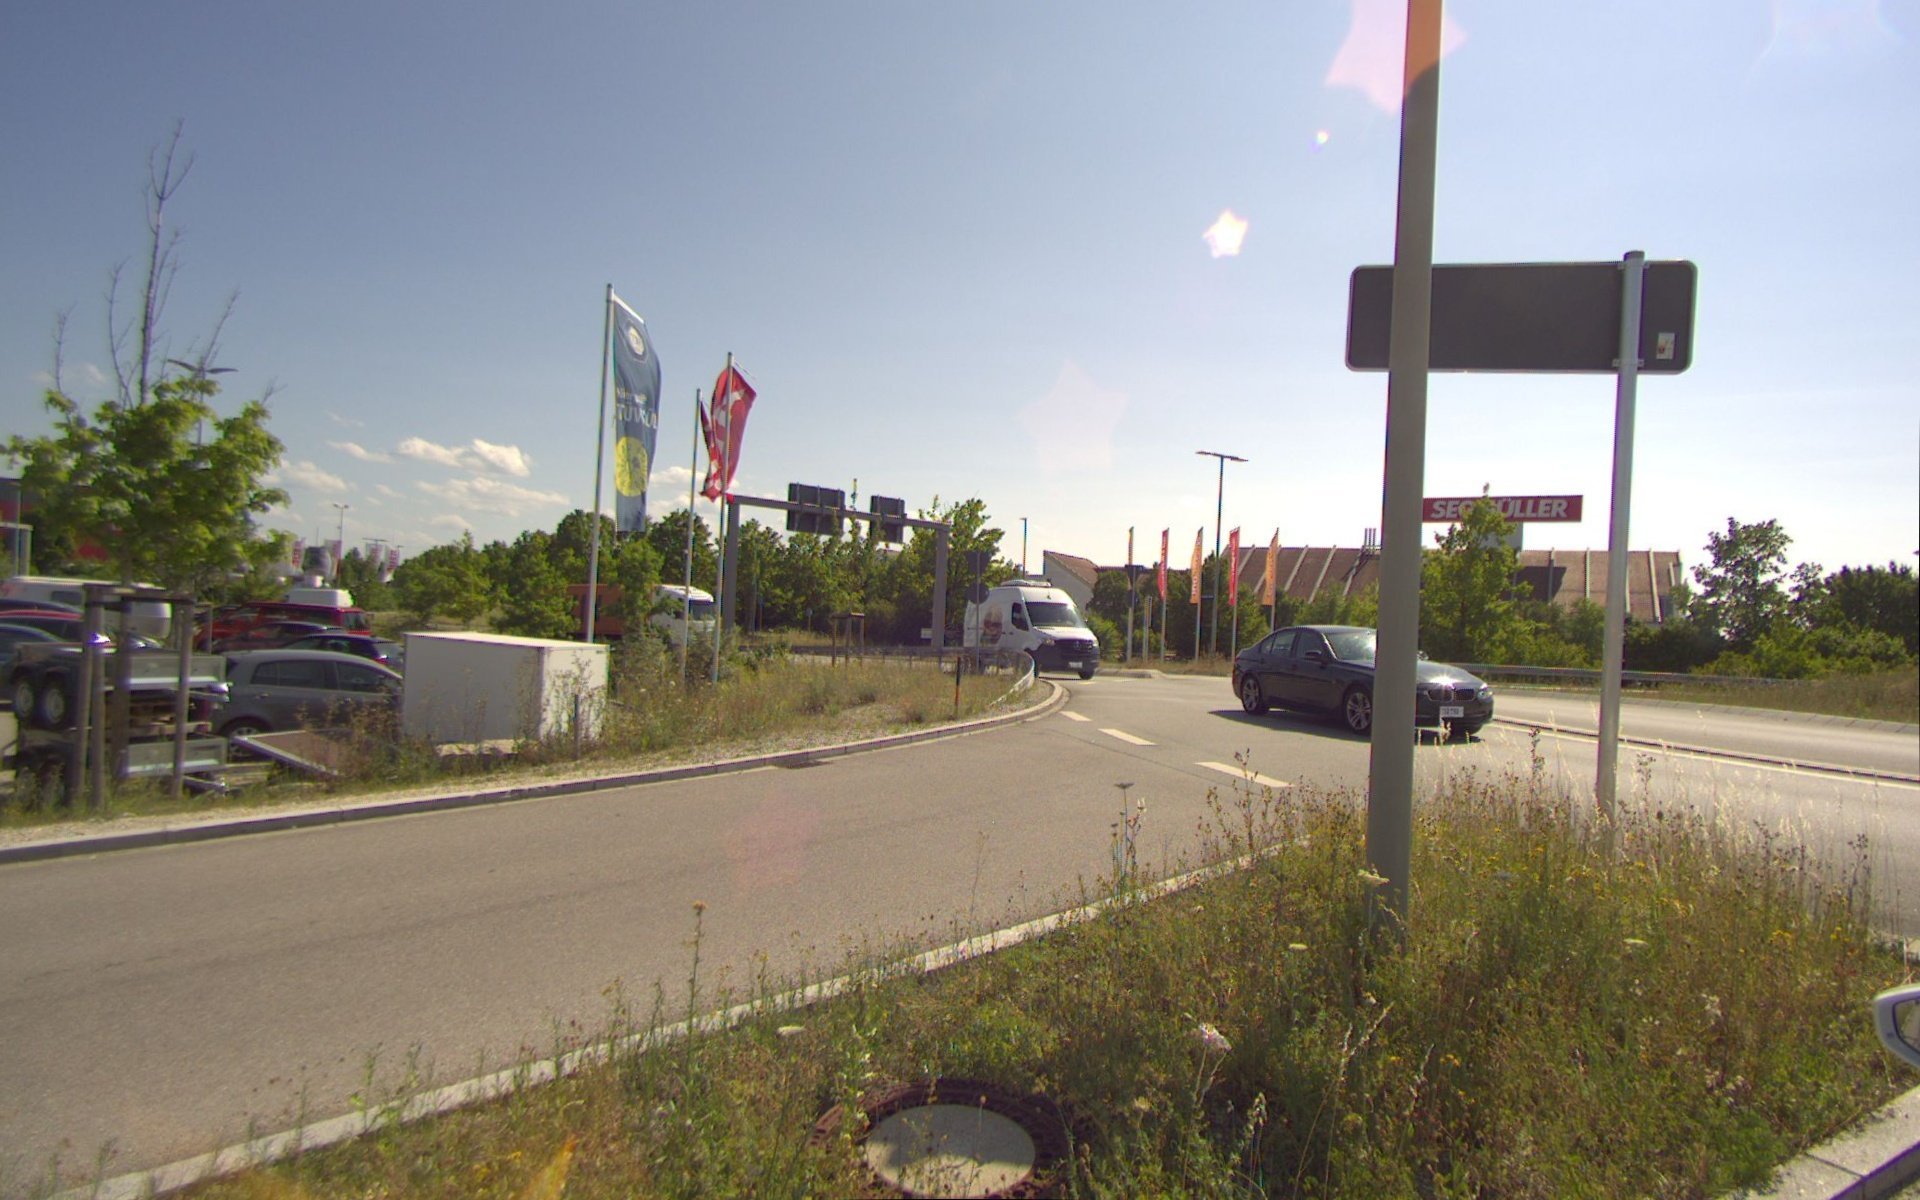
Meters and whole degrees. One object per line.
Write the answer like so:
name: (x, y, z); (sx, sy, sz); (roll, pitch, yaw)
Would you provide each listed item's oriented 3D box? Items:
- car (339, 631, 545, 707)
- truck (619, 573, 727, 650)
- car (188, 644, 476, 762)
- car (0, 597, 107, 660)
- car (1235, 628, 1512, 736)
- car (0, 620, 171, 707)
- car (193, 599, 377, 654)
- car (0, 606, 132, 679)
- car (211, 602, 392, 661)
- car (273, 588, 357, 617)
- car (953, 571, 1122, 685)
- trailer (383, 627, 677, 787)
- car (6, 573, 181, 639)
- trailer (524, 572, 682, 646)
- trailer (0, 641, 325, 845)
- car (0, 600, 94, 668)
car: (-12.443, 1.644, 24.335); (3.925, 1.483, 1.824); (4, -2, -5)
truck: (-16.487, 0.594, 57.506); (6.333, 4.161, 2.652); (2, 0, 38)
car: (-9.993, 1.556, 16.093); (3.712, 1.572, 1.724); (2, 0, -39)
car: (-23.858, 0.692, 24.883); (3.962, 1.483, 1.807); (2, 0, -36)
car: (5.753, 1.101, 14.526); (1.649, 1.198, 3.852); (2, 0, -16)
car: (-16.766, 1.110, 18.047); (3.969, 1.483, 1.804); (2, -2, -41)
car: (-20.995, 0.807, 31.391); (4.371, 1.483, 1.824); (2, 0, -5)
car: (-20.727, 0.903, 21.911); (3.962, 1.483, 1.807); (2, 0, -36)
car: (-18.920, 0.886, 29.021); (3.924, 1.483, 1.824); (2, 0, -5)
car: (-55.342, 0.206, 86.267); (6.147, 2.264, 2.041); (2, 0, 7)
car: (2.075, 0.709, 29.376); (2.057, 2.960, 6.098); (2, 0, -26)
trailer: (-6.264, 1.448, 14.695); (3.624, 1.795, 1.807); (4, 1, 20)
car: (-28.991, 0.240, 33.793); (4.314, 2.040, 1.881); (2, 0, -40)
trailer: (-22.128, 0.451, 61.741); (12.156, 4.209, 2.553); (1, -1, 35)
trailer: (-9.412, 1.477, 11.422); (3.624, 1.795, 1.807); (2, 0, 20)
car: (-22.565, 0.757, 22.981); (3.962, 1.483, 1.807); (2, 0, -36)
